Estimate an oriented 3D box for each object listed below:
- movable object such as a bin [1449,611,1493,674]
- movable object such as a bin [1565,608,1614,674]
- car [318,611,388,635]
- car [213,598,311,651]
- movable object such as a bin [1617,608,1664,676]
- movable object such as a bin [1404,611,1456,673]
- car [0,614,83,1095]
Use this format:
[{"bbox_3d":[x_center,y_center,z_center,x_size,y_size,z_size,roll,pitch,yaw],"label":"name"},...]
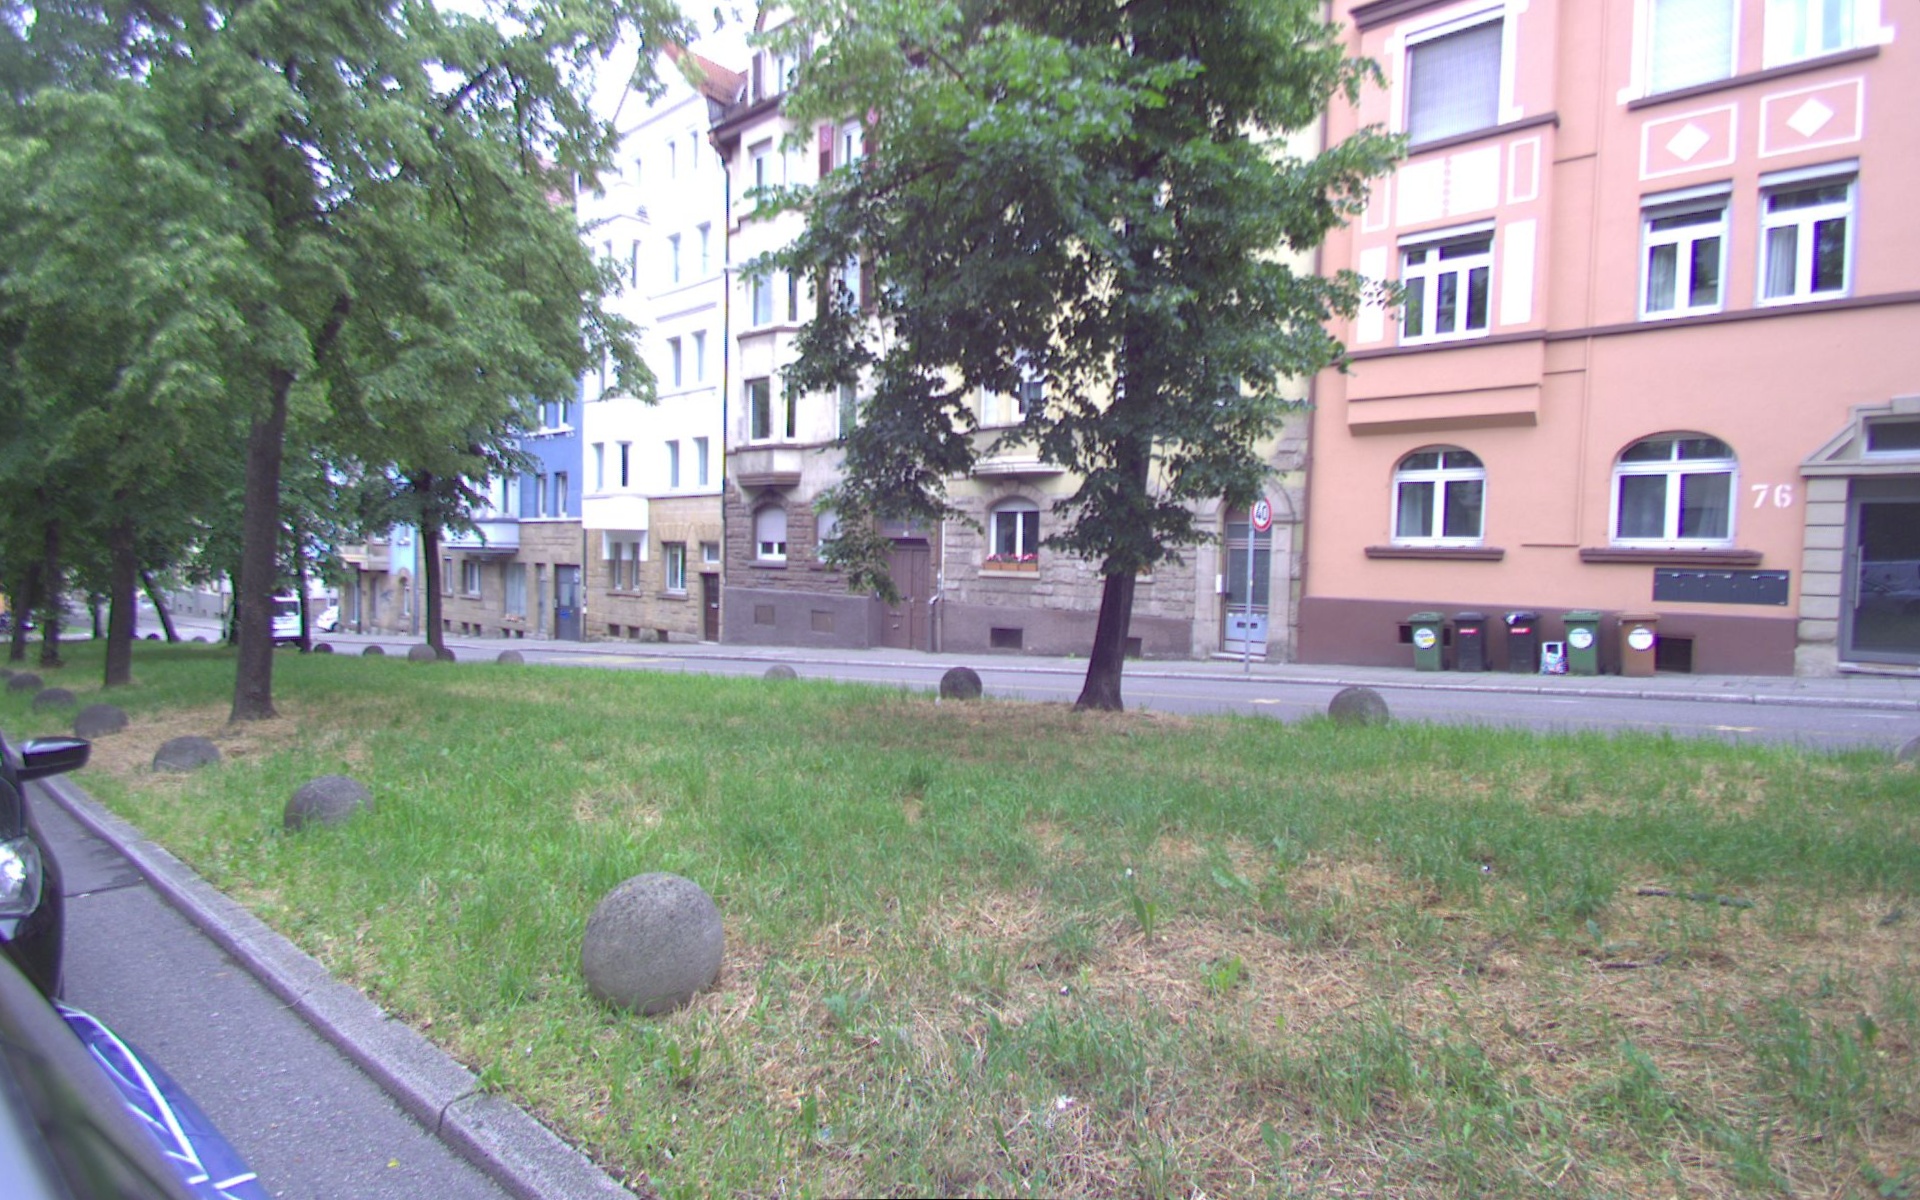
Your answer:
[{"bbox_3d":[7.988,0.646,15.804,0.531,0.953,0.575,-1,0,35],"label":"movable object such as a bin"},{"bbox_3d":[9.172,0.589,14.740,0.558,0.928,0.648,-1,0,36],"label":"movable object such as a bin"},{"bbox_3d":[-35.173,1.313,58.657,3.244,1.341,1.674,-1,0,-40],"label":"car"},{"bbox_3d":[-28.056,0.996,40.616,5.304,1.959,1.973,-2,0,41],"label":"car"},{"bbox_3d":[9.645,0.583,14.337,0.514,0.928,0.750,-1,0,36],"label":"movable object such as a bin"},{"bbox_3d":[7.520,0.656,16.185,0.617,0.955,0.610,-1,0,40],"label":"movable object such as a bin"},{"bbox_3d":[-4.594,0.782,3.733,3.295,1.476,1.590,-1,-2,41],"label":"car"}]
